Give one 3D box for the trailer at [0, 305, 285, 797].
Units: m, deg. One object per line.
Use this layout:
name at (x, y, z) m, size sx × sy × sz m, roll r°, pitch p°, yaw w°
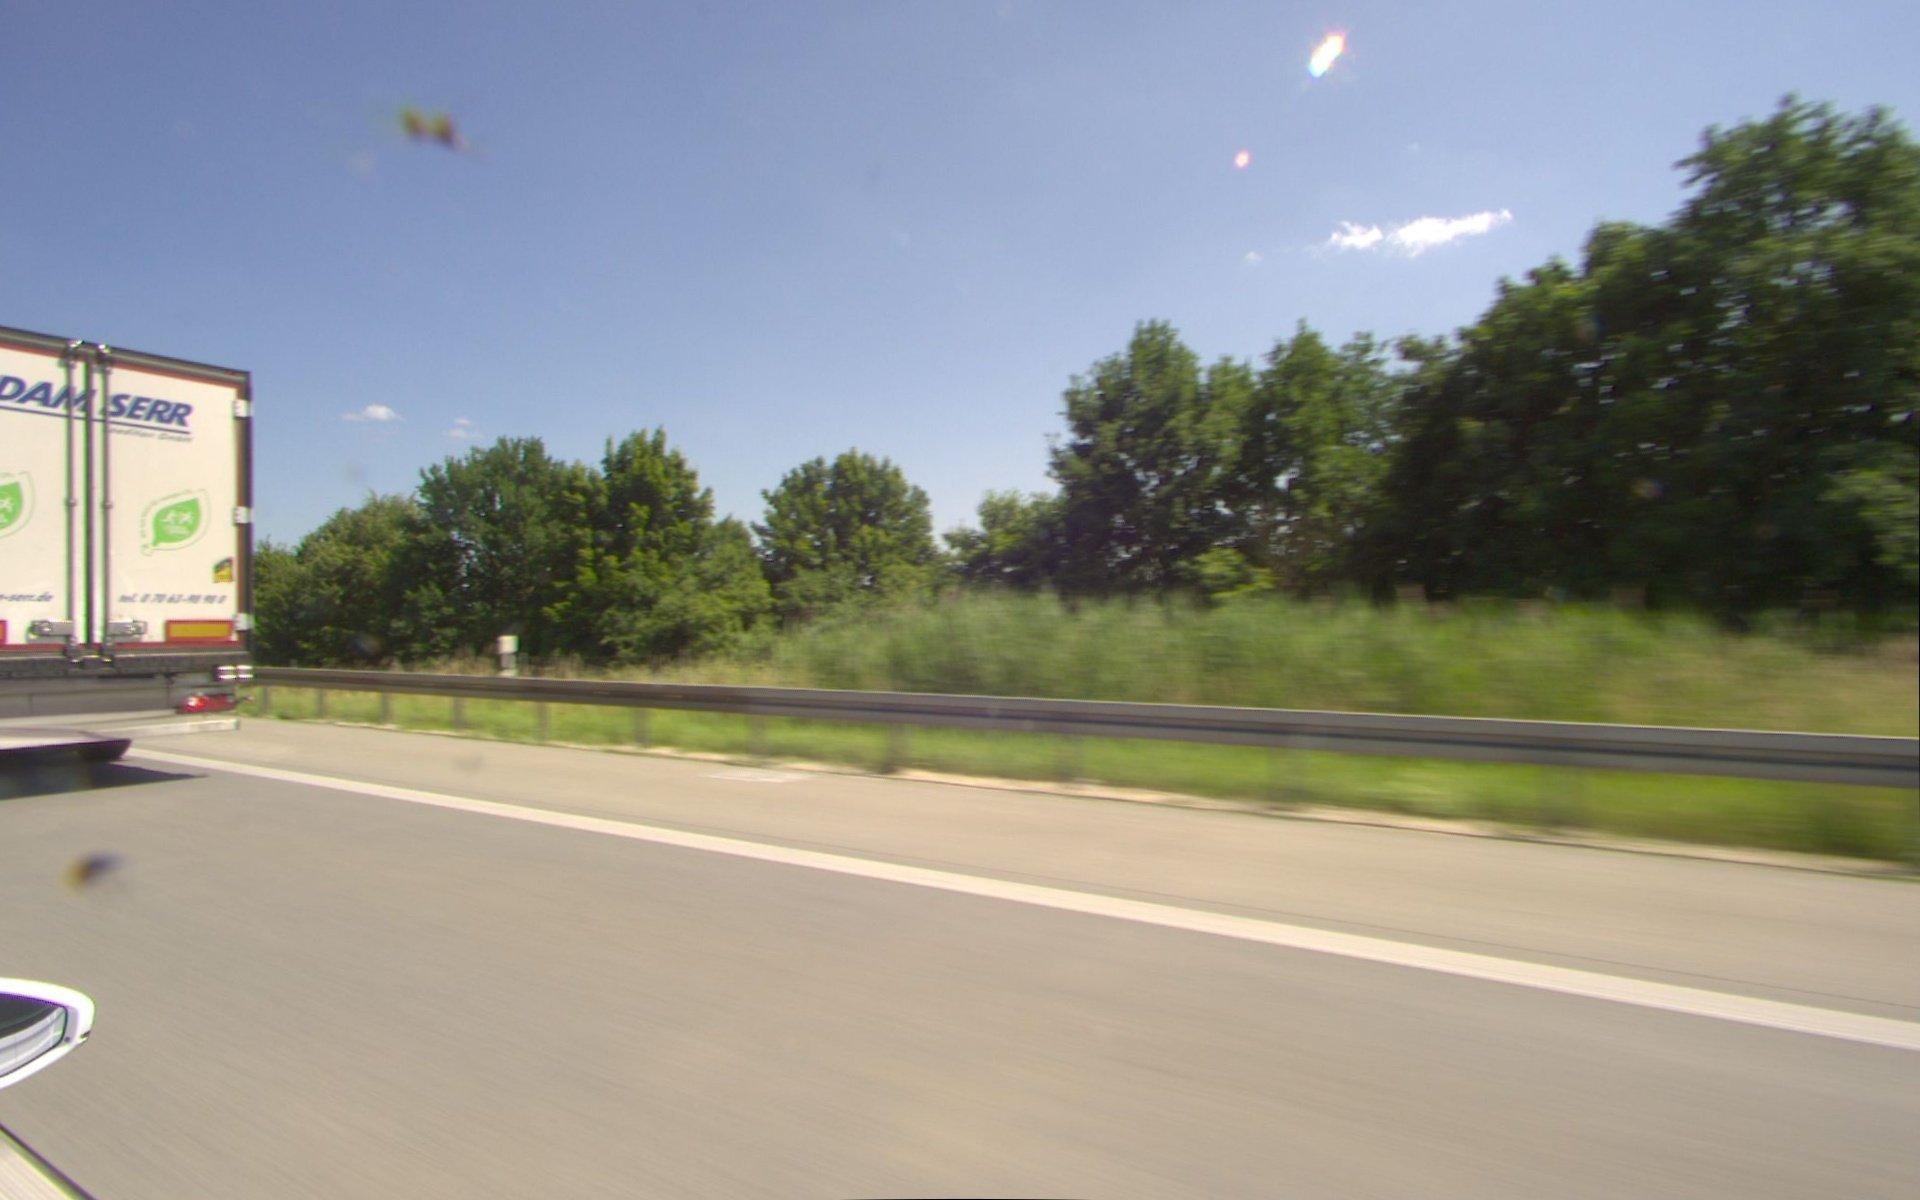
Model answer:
trailer at (-12.931, -0.304, 12.268) m, size 12.529 × 4.094 × 2.848 m, roll -1°, pitch -1°, yaw 32°
